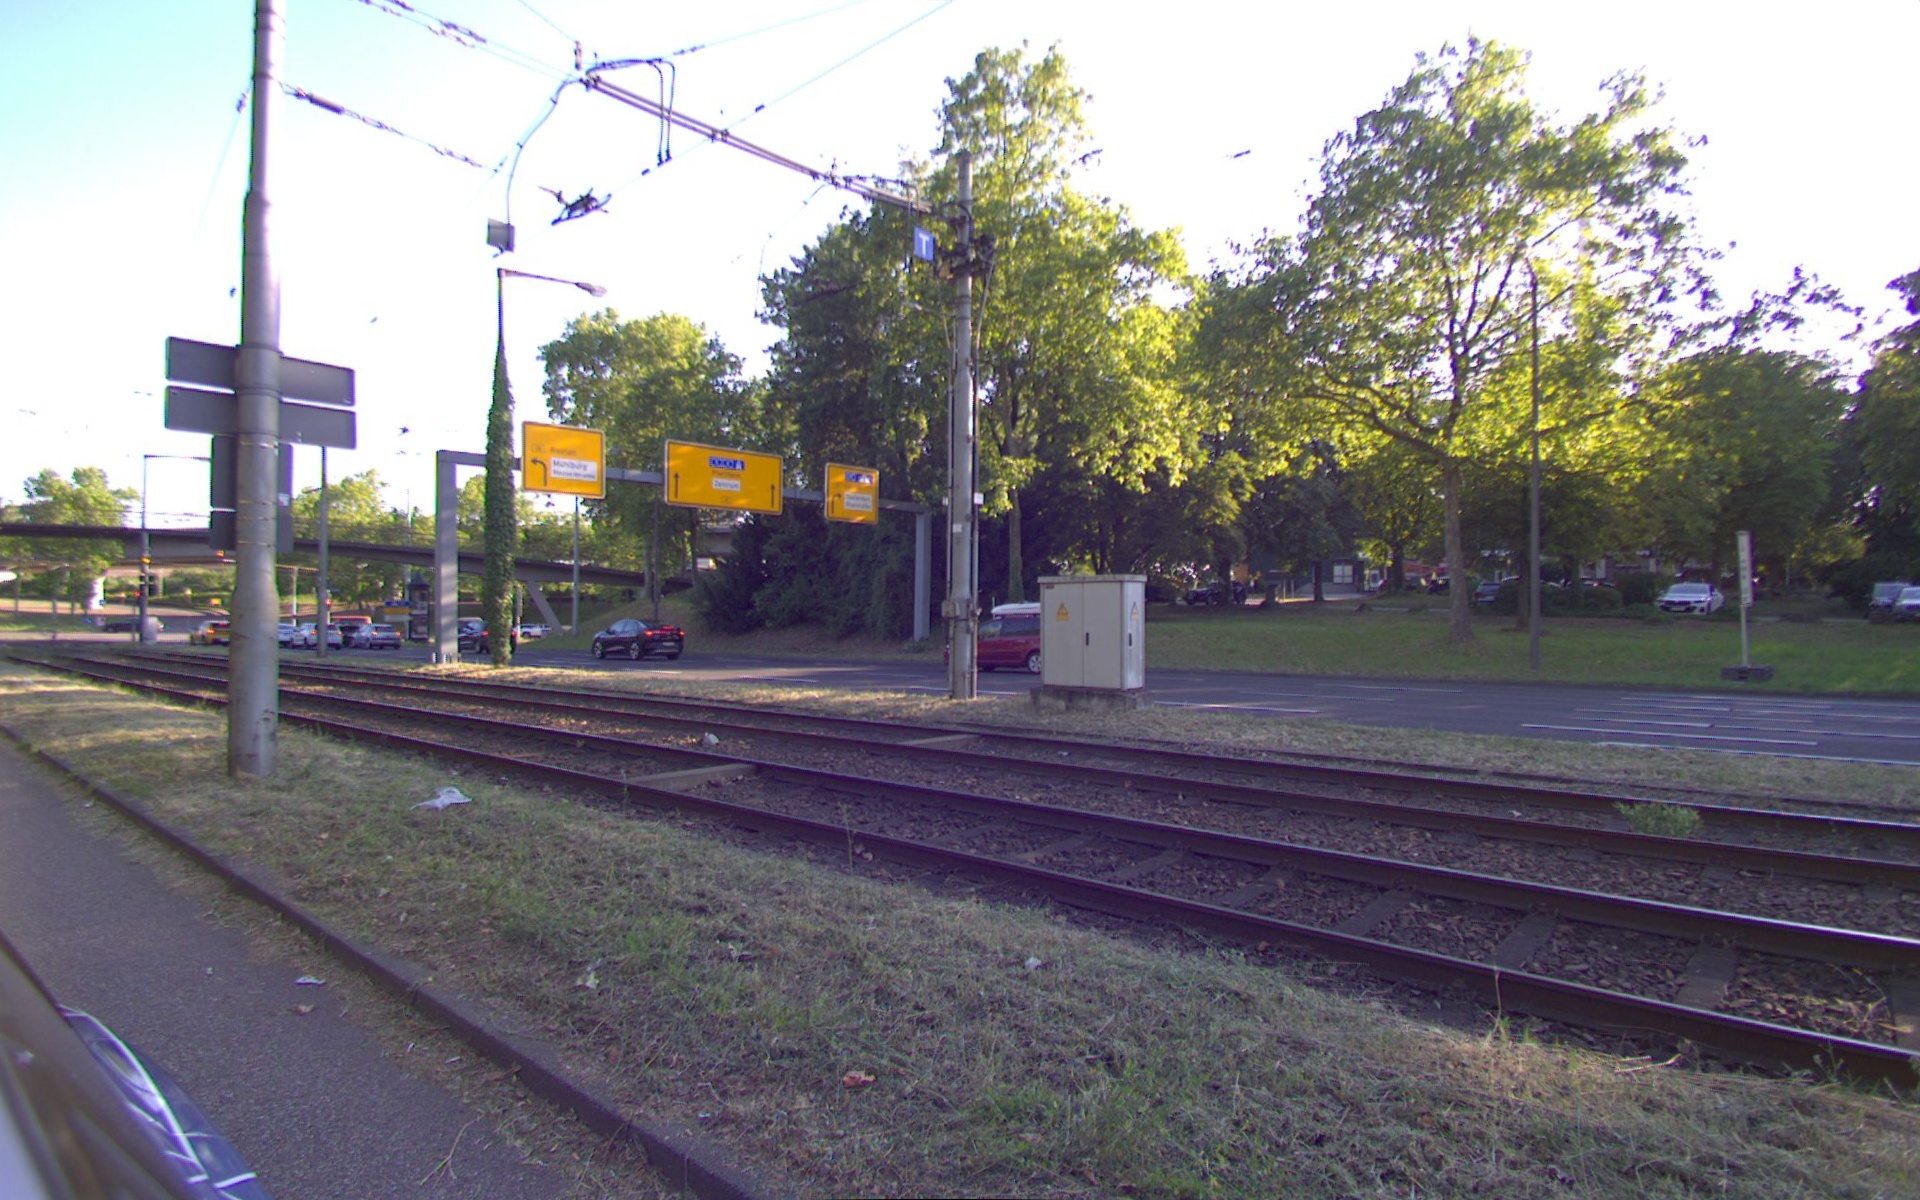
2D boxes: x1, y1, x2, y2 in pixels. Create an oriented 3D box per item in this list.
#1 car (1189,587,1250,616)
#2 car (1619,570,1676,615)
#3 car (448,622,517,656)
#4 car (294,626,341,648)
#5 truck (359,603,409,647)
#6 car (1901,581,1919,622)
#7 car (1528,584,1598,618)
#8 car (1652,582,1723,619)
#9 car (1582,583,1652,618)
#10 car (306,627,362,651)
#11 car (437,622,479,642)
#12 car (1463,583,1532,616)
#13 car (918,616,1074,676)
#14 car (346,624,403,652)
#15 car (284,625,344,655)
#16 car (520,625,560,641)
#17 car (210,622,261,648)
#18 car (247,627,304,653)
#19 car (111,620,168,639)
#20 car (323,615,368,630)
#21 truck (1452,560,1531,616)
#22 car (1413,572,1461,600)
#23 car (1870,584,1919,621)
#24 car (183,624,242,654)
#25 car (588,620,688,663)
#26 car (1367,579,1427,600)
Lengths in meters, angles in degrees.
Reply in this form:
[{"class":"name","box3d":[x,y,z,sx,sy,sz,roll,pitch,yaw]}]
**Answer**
[{"class":"car","box3d":[15.386,0.061,59.967,1.791,1.657,3.942,-1,-1,44]},{"class":"car","box3d":[36.876,-0.401,54.251,2.161,2.320,4.348,0,0,40]},{"class":"car","box3d":[-23.015,1.877,48.724,3.975,1.569,1.731,-2,-3,45]},{"class":"car","box3d":[-44.284,2.505,69.681,1.891,1.435,4.229,0,-1,-44]},{"class":"truck","box3d":[-40.313,1.739,70.775,2.248,2.901,6.895,0,-1,-37]},{"class":"car","box3d":[37.572,0.035,38.904,1.942,1.521,4.039,0,0,44]},{"class":"car","box3d":[28.417,0.015,47.668,1.942,1.521,4.039,0,0,44]},{"class":"car","box3d":[31.553,0.002,43.856,1.942,1.521,4.039,0,0,44]},{"class":"car","box3d":[30.026,0.006,46.231,1.942,1.521,4.039,0,0,44]},{"class":"car","box3d":[-39.772,2.449,64.236,4.224,1.435,1.844,-1,-1,40]},{"class":"car","box3d":[-51.201,3.243,103.172,3.748,1.872,1.682,-1,0,-30]},{"class":"car","box3d":[26.161,-0.045,49.196,1.942,1.521,4.039,0,0,44]},{"class":"car","box3d":[1.010,1.305,29.580,4.301,1.647,1.821,-1,-2,35]},{"class":"car","box3d":[-34.972,2.254,60.422,3.998,1.556,1.789,-1,-1,41]},{"class":"car","box3d":[-35.750,2.203,55.964,3.997,1.556,1.744,-1,-1,40]},{"class":"car","box3d":[-44.419,3.455,107.060,3.747,1.591,1.683,-1,0,-26]},{"class":"car","box3d":[-45.848,2.181,64.051,4.228,1.561,1.892,-1,-2,44]},{"class":"car","box3d":[-40.584,2.334,59.962,4.226,1.435,1.893,-1,-1,42]},{"class":"car","box3d":[-76.514,2.729,94.402,3.810,1.677,1.817,-1,0,-28]},{"class":"car","box3d":[-62.425,2.296,102.856,3.810,1.421,1.817,-1,0,-30]},{"class":"truck","box3d":[31.733,-0.689,60.296,2.503,3.191,6.137,0,0,45]},{"class":"car","box3d":[33.546,-0.995,71.072,2.290,1.864,5.214,-1,1,34]},{"class":"car","box3d":[43.960,0.094,47.238,3.998,1.628,1.864,-1,0,-43]},{"class":"car","box3d":[-40.813,2.122,55.263,3.997,1.556,1.744,-1,-1,40]},{"class":"car","box3d":[-12.571,1.580,39.385,4.332,1.556,1.713,-1,-2,41]},{"class":"car","box3d":[33.100,-0.796,76.757,4.069,1.521,1.927,0,0,21]}]
